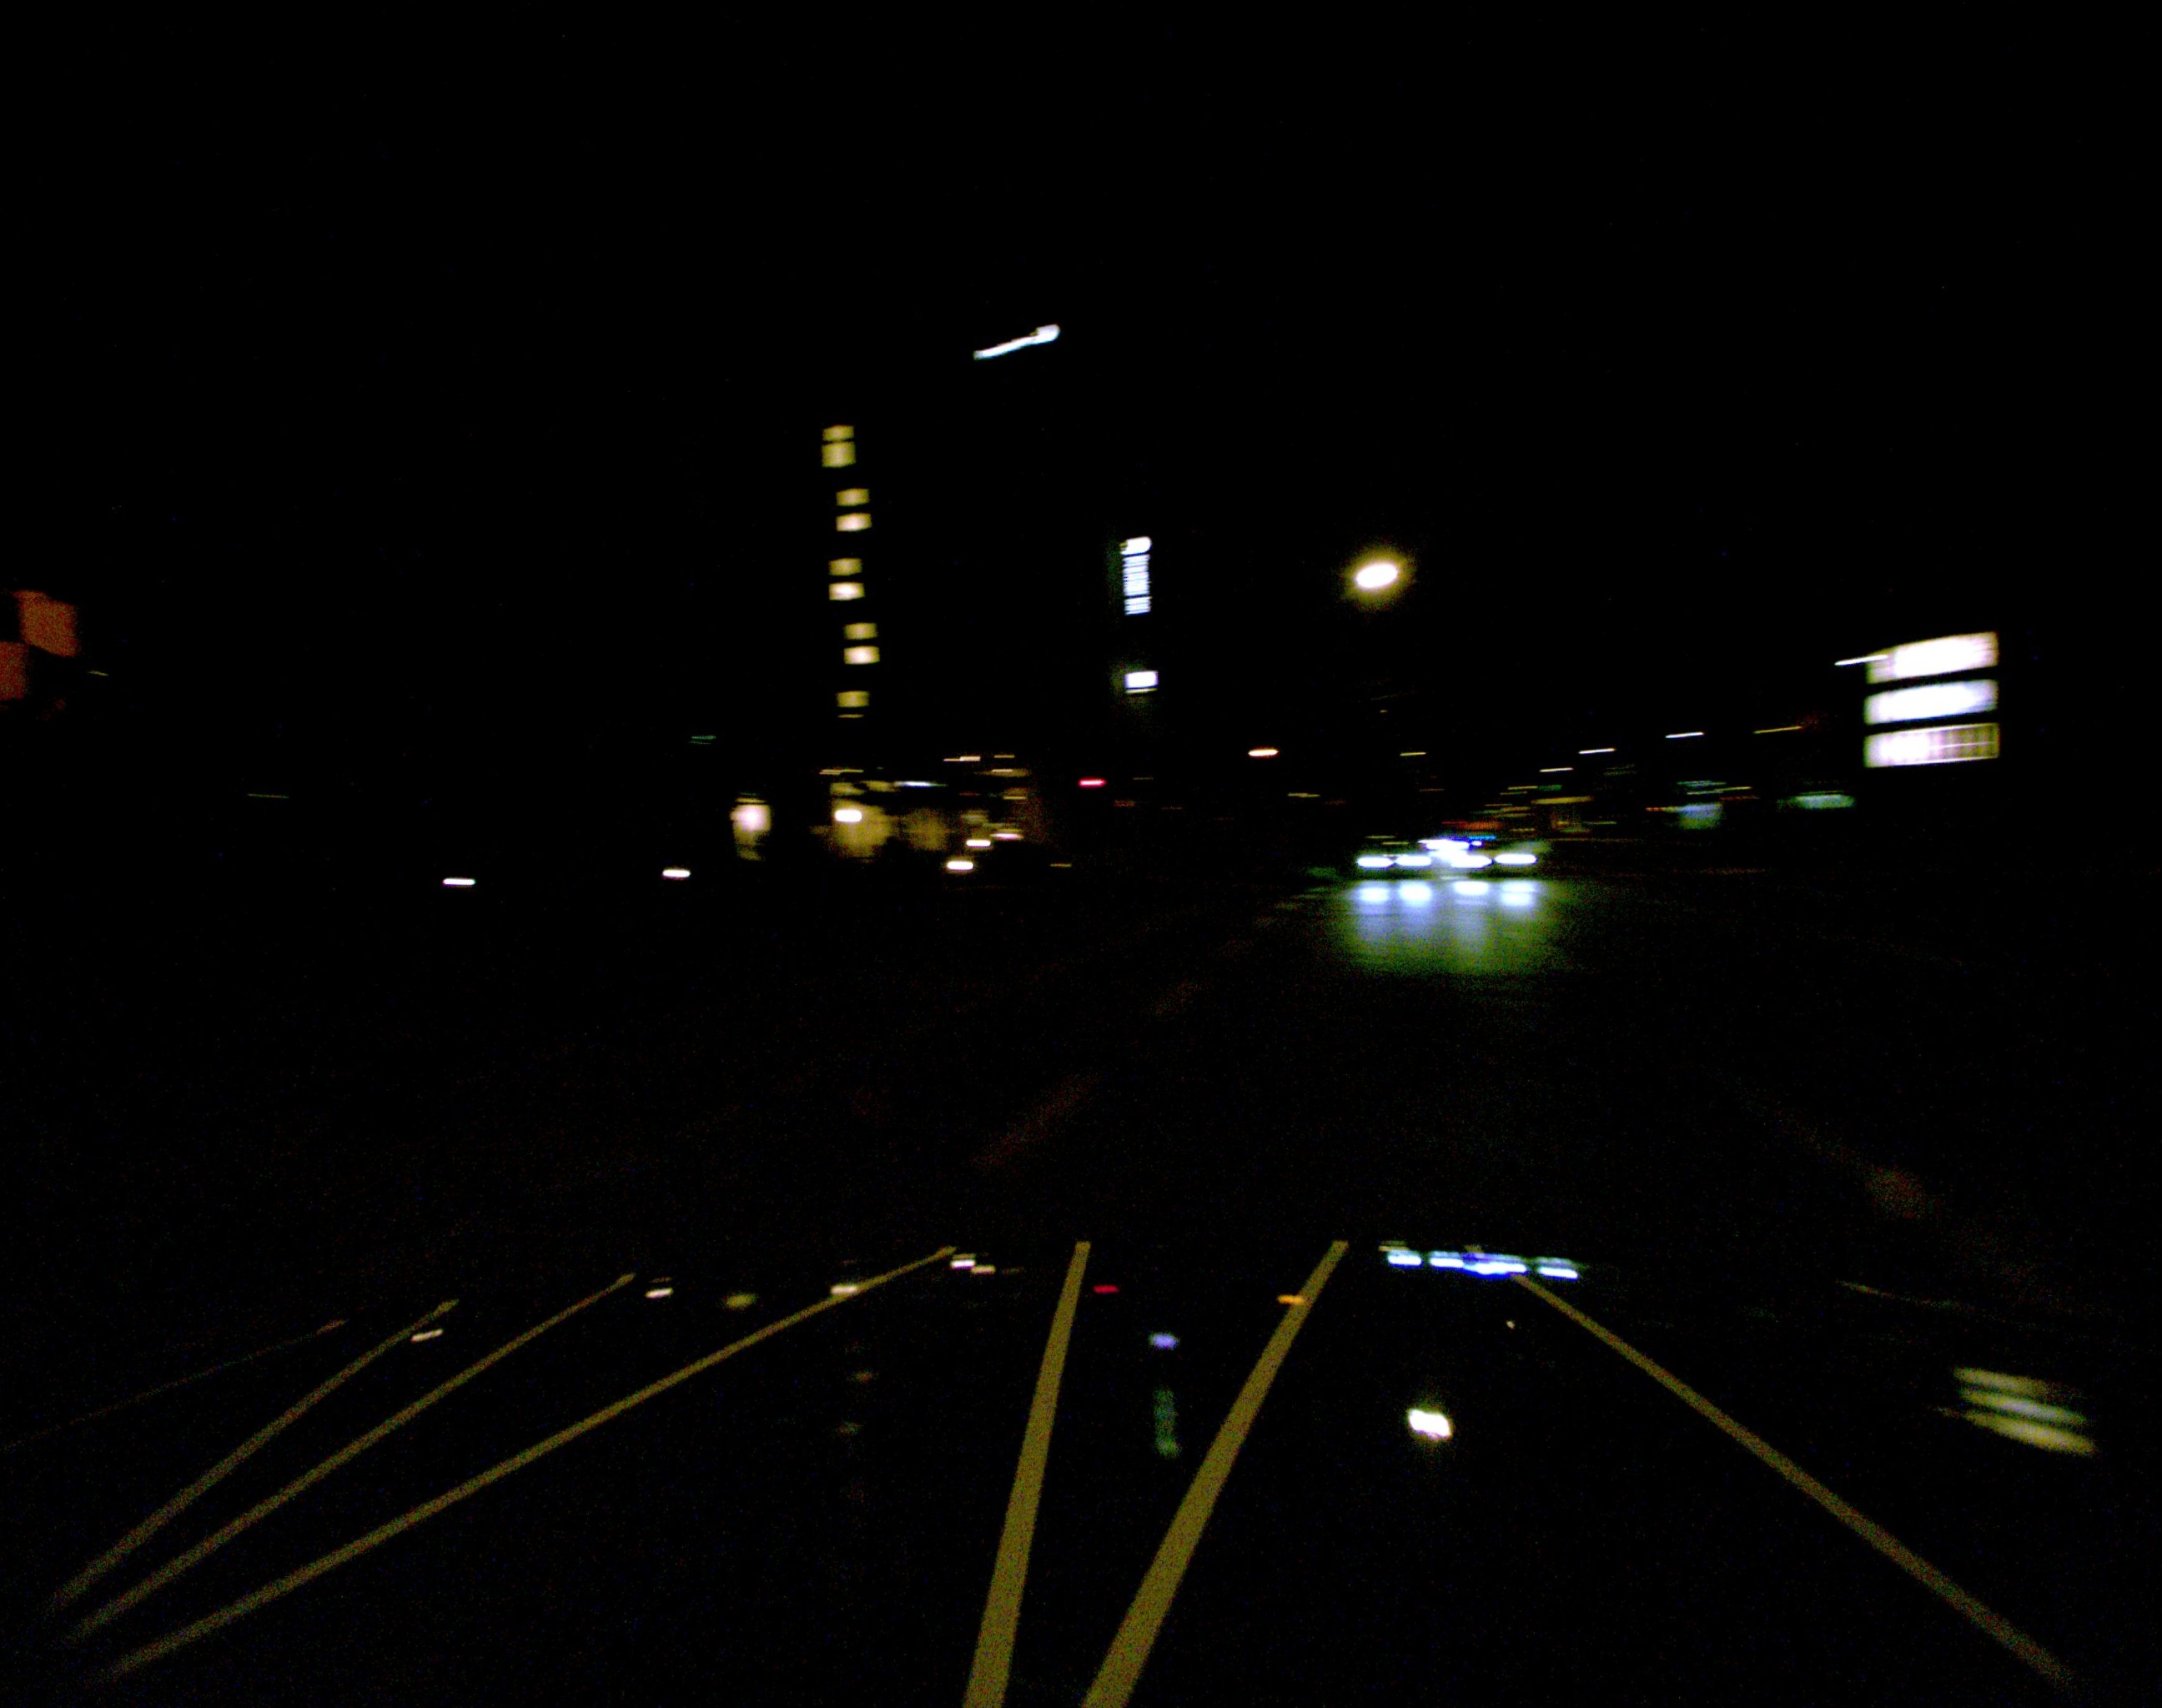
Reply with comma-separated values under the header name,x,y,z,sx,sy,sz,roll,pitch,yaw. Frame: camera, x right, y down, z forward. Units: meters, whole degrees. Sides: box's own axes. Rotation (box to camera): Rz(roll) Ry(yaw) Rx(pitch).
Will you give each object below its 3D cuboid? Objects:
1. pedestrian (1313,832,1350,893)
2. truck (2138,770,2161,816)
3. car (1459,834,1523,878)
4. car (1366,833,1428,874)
name,x,y,z,sx,sy,sz,roll,pitch,yaw
pedestrian,6.831,0.234,20.757,0.861,1.624,0.672,-1,1,13
truck,73.394,-4.043,49.168,2.906,3.070,5.923,-1,2,19
car,15.135,0.041,28.246,1.814,1.494,4.207,-1,1,25
car,12.924,-0.037,30.985,1.902,1.562,4.007,-1,1,29
